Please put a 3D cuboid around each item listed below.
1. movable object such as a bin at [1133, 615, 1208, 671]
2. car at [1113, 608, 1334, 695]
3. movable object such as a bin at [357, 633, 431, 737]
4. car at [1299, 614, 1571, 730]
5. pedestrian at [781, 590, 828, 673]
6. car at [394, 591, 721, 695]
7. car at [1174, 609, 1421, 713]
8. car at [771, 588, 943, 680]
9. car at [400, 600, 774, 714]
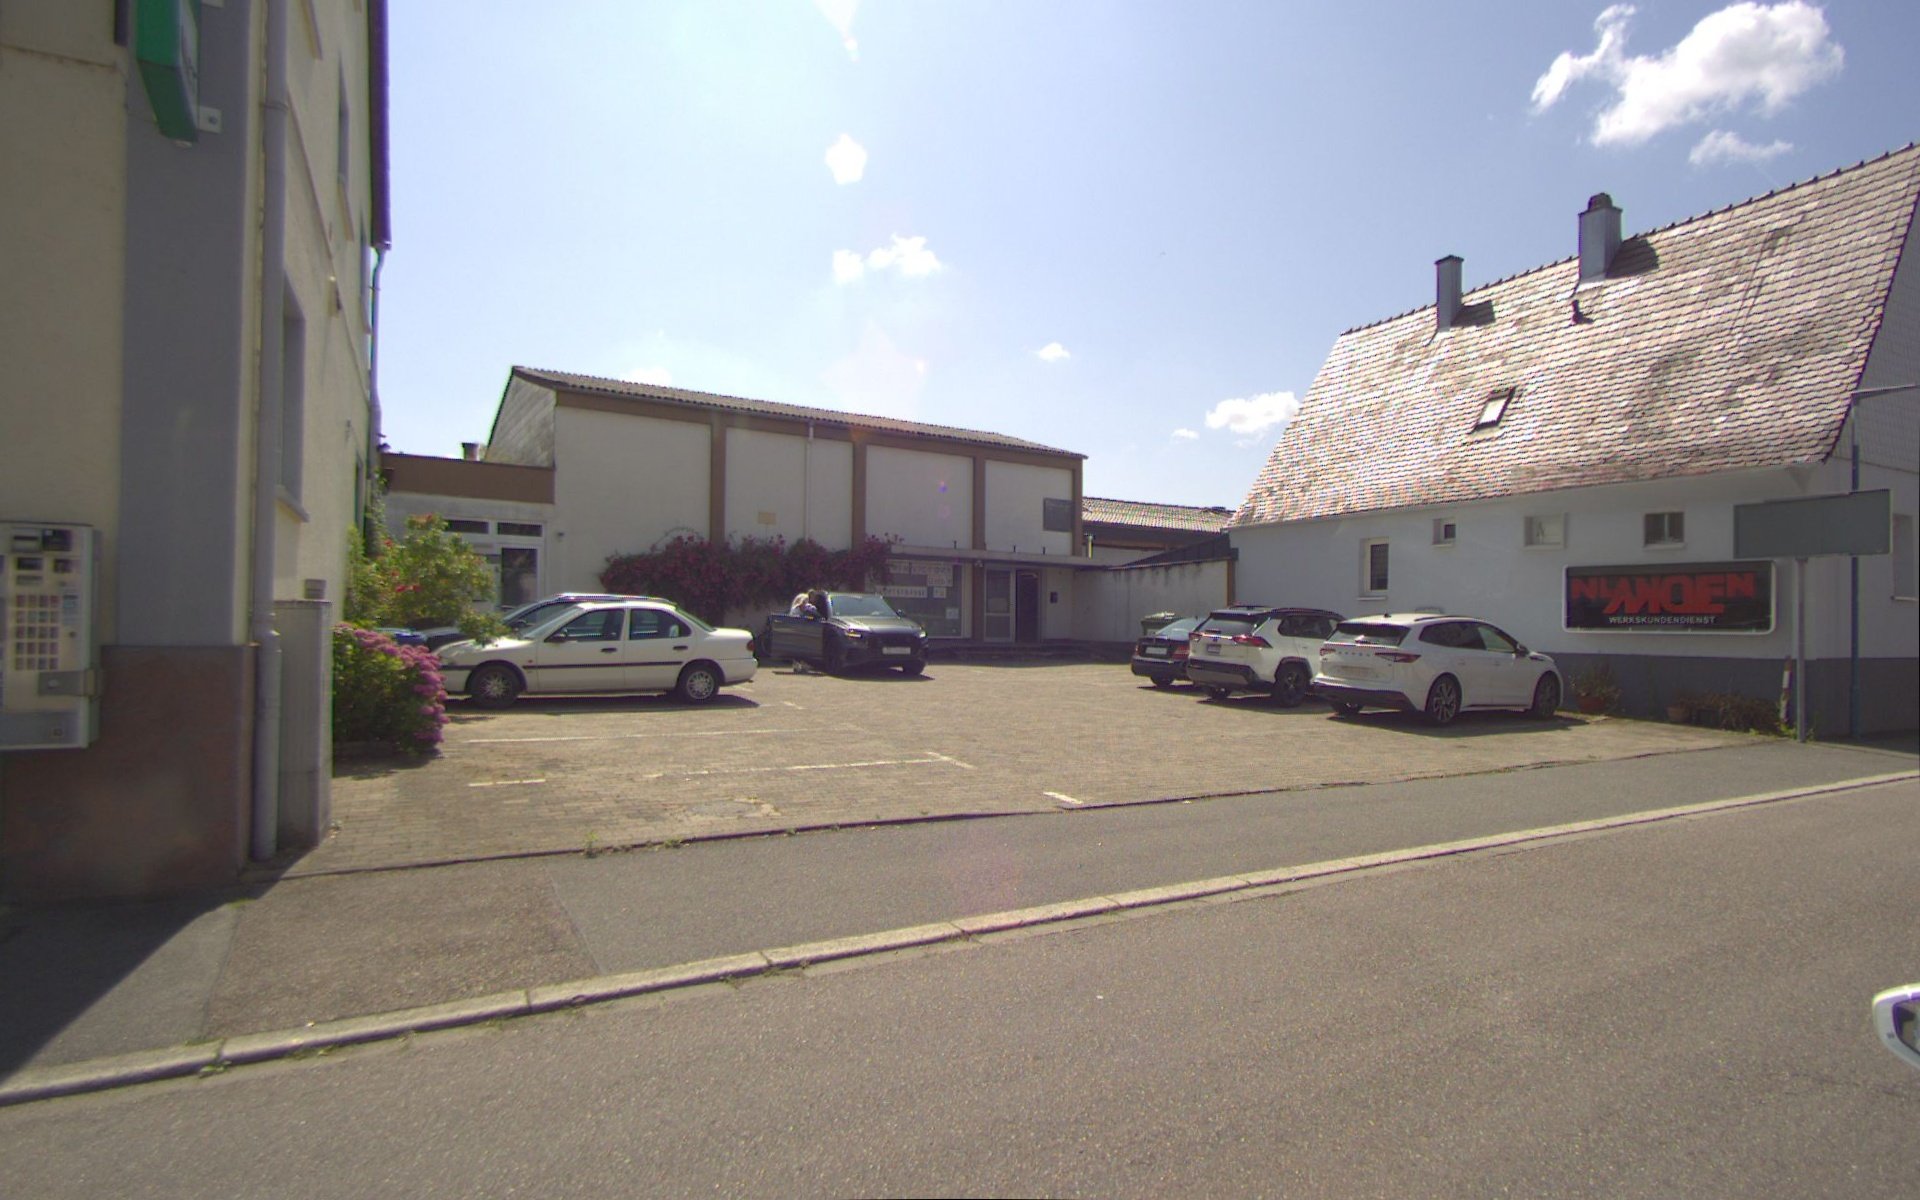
[{"bbox_3d":[5.212,1.052,24.910,1.196,1.318,1.382,1,-1,-28],"label":"movable object such as a bin"},{"bbox_3d":[5.425,1.012,20.501,4.427,1.591,1.765,2,-1,-31],"label":"car"},{"bbox_3d":[-6.256,0.919,11.124,0.671,1.086,0.575,1,0,-28],"label":"movable object such as a bin"},{"bbox_3d":[7.551,1.059,15.852,4.429,1.591,1.764,2,-1,-32],"label":"car"},{"bbox_3d":[-3.276,0.654,21.196,0.769,1.680,0.831,1,0,4],"label":"pedestrian"},{"bbox_3d":[-6.553,0.678,16.542,4.771,1.501,1.816,2,0,-29],"label":"car"},{"bbox_3d":[6.119,1.043,18.063,4.427,1.641,1.765,2,-1,-31],"label":"car"},{"bbox_3d":[-2.351,0.670,21.643,2.013,1.748,4.659,1,-1,-29],"label":"car"},{"bbox_3d":[-5.264,0.763,14.399,4.771,1.398,1.816,2,0,-29],"label":"car"}]
